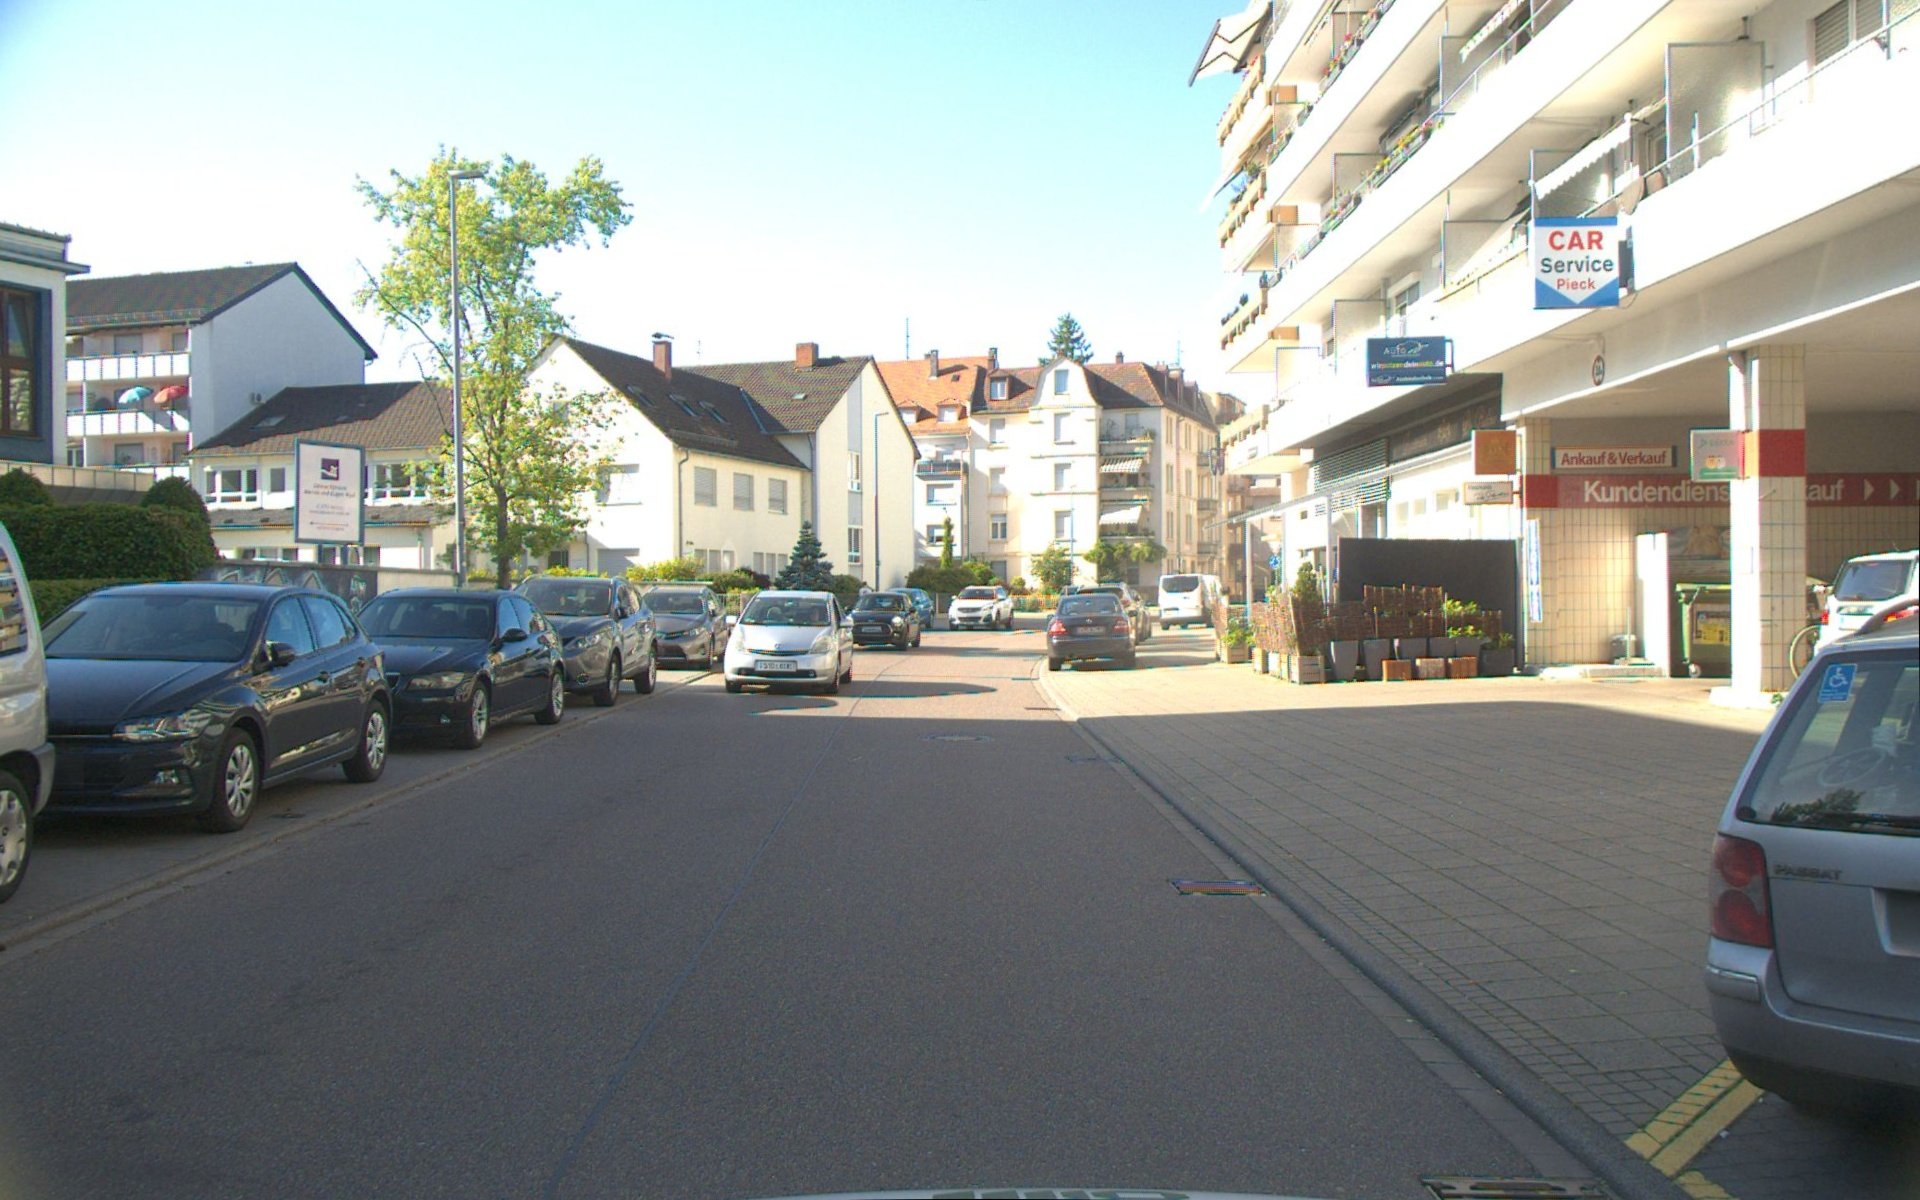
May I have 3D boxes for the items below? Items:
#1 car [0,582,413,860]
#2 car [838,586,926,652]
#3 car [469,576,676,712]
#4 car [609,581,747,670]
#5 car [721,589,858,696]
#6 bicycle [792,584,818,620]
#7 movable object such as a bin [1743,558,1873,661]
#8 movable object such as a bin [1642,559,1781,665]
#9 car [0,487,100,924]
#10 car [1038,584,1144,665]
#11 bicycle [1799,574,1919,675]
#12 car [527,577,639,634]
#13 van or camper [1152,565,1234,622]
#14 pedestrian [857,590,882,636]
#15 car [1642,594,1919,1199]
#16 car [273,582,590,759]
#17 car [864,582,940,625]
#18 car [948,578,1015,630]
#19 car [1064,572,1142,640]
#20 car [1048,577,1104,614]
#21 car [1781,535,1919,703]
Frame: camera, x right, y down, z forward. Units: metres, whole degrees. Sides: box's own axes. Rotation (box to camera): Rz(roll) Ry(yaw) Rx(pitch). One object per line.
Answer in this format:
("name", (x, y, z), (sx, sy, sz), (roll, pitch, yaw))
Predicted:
("car", (-4.897, 0.632, 10.748), (1.566, 1.466, 3.997), (0, 0, -4))
("car", (-1.975, 0.533, 42.983), (1.703, 1.539, 3.732), (-2, -3, 6))
("car", (-4.992, 0.502, 21.906), (1.684, 1.614, 4.421), (0, 0, 0))
("car", (-5.340, 0.425, 31.895), (1.953, 1.561, 4.916), (0, 1, -2))
("car", (-2.566, 0.595, 25.699), (1.690, 1.511, 4.106), (0, 0, 0))
("bicycle", (-5.753, 0.074, 61.369), (0.446, 1.272, 1.929), (-1, -2, 11))
("movable object such as a bin", (12.598, 0.159, 24.625), (1.303, 1.492, 1.161), (-1, -2, -1))
("movable object such as a bin", (11.159, 0.200, 24.618), (1.432, 1.526, 1.264), (0, -2, -2))
("car", (-4.862, 0.467, 5.774), (1.654, 1.871, 4.338), (0, 0, -4))
("car", (2.706, 0.466, 33.157), (1.929, 1.476, 5.006), (-1, 0, 6))
("bicycle", (10.218, 0.278, 18.370), (1.534, 1.096, 0.466), (-1, -2, -1))
("car", (-11.184, 0.196, 49.291), (1.763, 1.583, 3.188), (-1, -2, 22))
("van or camper", (8.861, -0.266, 62.654), (1.979, 1.981, 4.703), (-3, 0, 21))
("pedestrian", (-3.449, 0.498, 63.030), (0.668, 1.733, 0.824), (-1, -2, 20))
("car", (3.955, 0.697, 5.177), (4.612, 1.491, 1.663), (-1, -1, -45))
("car", (-4.991, 0.577, 16.297), (1.690, 1.490, 4.439), (0, 1, 0))
("car", (-2.115, 0.089, 61.142), (1.759, 1.499, 4.334), (1, 1, 13))
("car", (0.847, 0.176, 61.577), (1.878, 1.755, 4.340), (-1, -2, 9))
("car", (3.896, 0.213, 44.564), (1.778, 1.682, 4.563), (-1, -2, 9))
("car", (6.063, -0.235, 87.048), (1.953, 1.816, 4.509), (-1, 0, -9))
("car", (10.760, 0.118, 16.323), (4.302, 1.539, 1.978), (-2, -1, -2))
